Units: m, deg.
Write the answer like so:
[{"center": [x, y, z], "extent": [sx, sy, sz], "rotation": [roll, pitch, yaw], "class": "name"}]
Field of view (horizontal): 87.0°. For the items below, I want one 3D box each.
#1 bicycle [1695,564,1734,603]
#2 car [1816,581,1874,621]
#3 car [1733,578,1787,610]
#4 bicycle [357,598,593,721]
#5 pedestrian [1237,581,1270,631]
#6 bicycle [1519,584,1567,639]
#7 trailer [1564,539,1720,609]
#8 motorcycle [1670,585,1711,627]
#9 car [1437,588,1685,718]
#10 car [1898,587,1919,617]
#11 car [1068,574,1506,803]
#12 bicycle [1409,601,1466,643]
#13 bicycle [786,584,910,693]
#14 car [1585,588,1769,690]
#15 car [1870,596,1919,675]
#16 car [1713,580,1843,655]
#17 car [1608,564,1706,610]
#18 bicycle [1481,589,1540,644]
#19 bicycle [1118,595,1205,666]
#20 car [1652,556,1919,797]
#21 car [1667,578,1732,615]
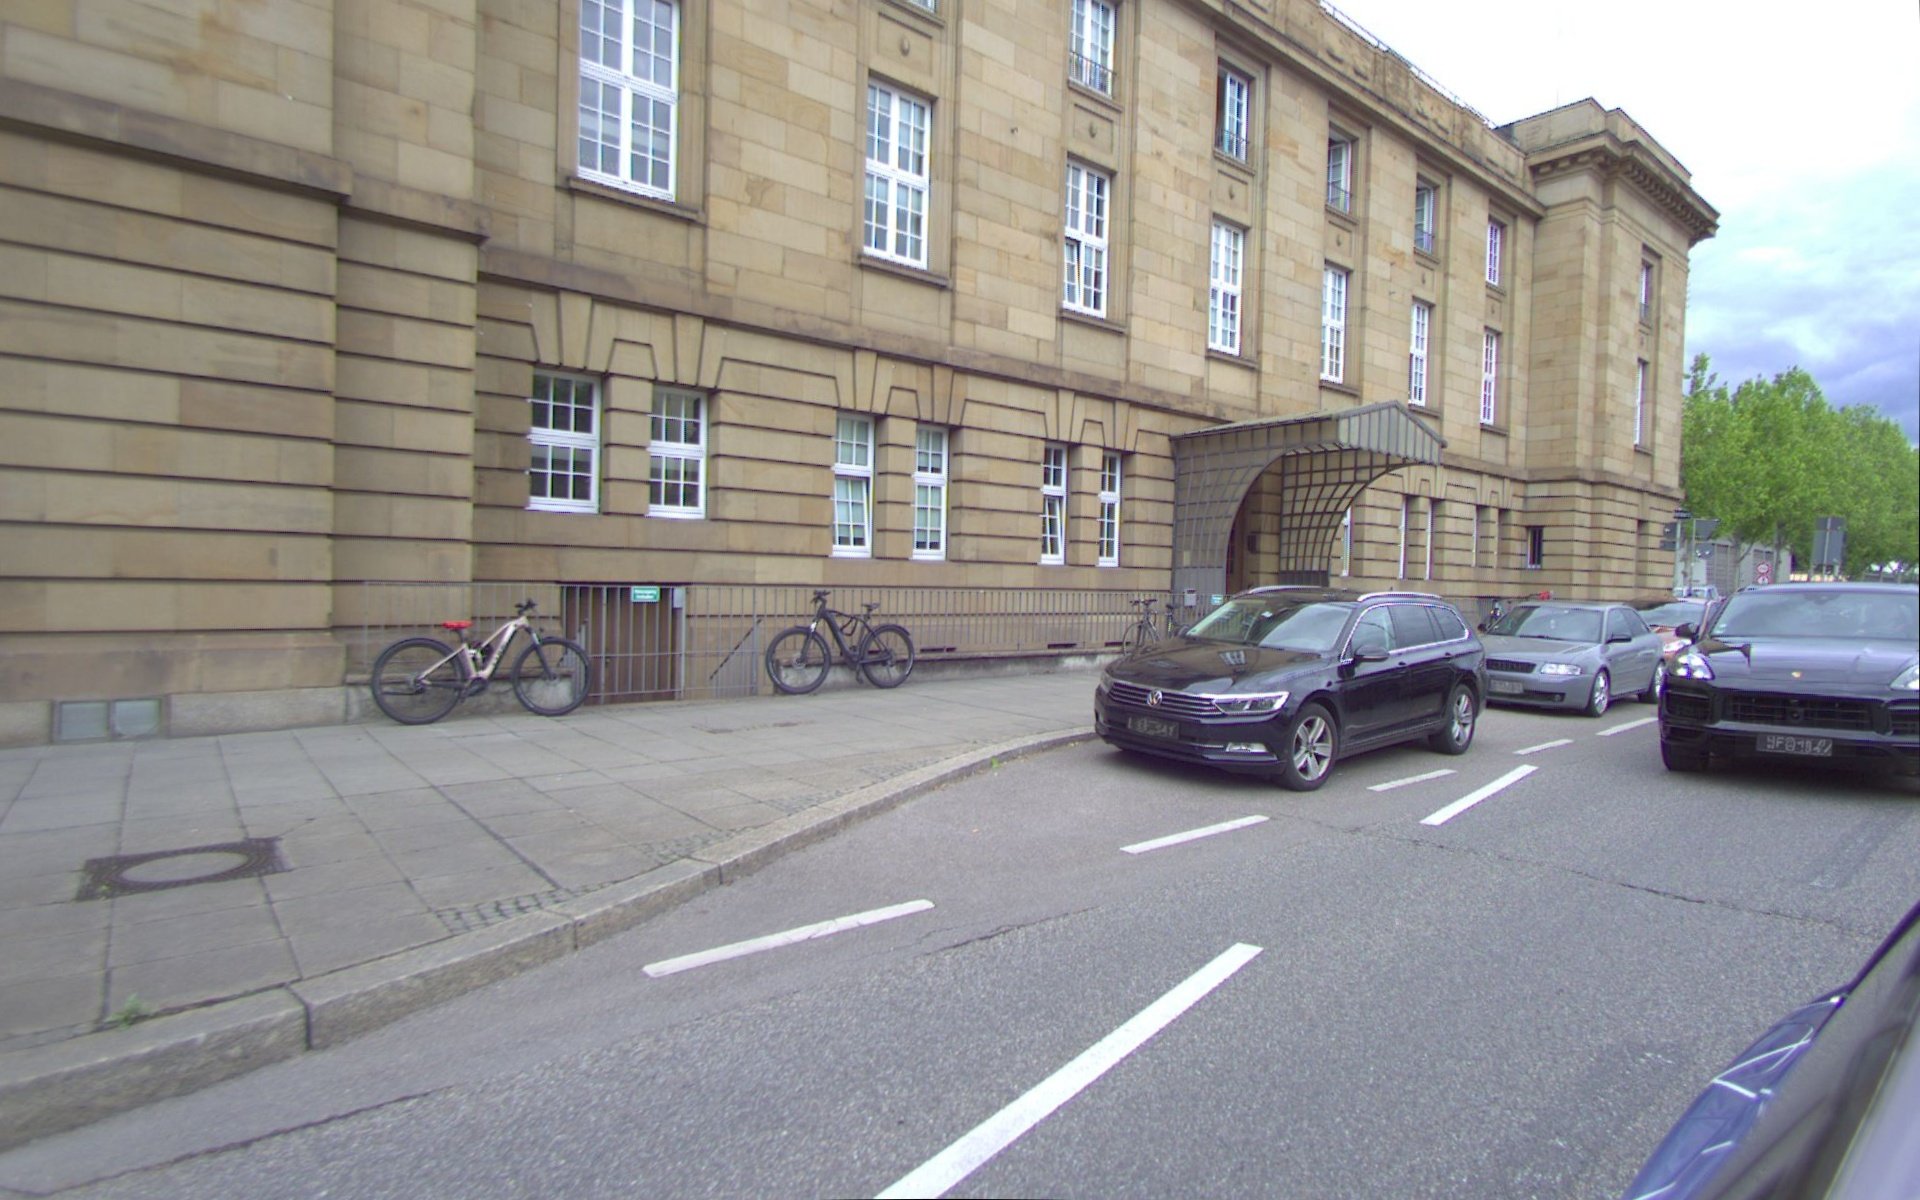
[{"center": [24.885, -0.537, 33.367], "extent": [1.930, 1.239, 0.610], "rotation": [0, 4, -43], "class": "bicycle"}, {"center": [41.480, 0.055, 47.389], "extent": [1.805, 1.760, 4.413], "rotation": [1, 0, 45], "class": "car"}, {"center": [40.205, -0.333, 50.848], "extent": [3.444, 1.549, 1.582], "rotation": [0, 1, -42], "class": "car"}, {"center": [-4.323, 0.496, 9.153], "extent": [1.928, 1.010, 0.240], "rotation": [-1, 1, -41], "class": "bicycle"}, {"center": [5.257, 0.105, 18.129], "extent": [0.366, 0.884, 0.430], "rotation": [-1, 0, -39], "class": "pedestrian"}, {"center": [14.247, 0.272, 24.712], "extent": [1.759, 1.304, 0.413], "rotation": [0, 1, -40], "class": "bicycle"}, {"center": [43.869, -1.622, 64.824], "extent": [13.702, 4.153, 3.159], "rotation": [-1, 0, -33], "class": "trailer"}, {"center": [22.320, 0.173, 30.910], "extent": [1.887, 1.257, 0.456], "rotation": [0, 2, -37], "class": "motorcycle"}, {"center": [8.192, 0.595, 13.668], "extent": [3.927, 1.443, 1.712], "rotation": [0, 3, -41], "class": "car"}, {"center": [66.440, 0.154, 69.991], "extent": [3.932, 2.039, 1.996], "rotation": [0, 1, -42], "class": "car"}, {"center": [3.052, 0.576, 8.937], "extent": [4.252, 1.504, 1.791], "rotation": [0, 2, -42], "class": "car"}, {"center": [10.044, 0.445, 21.260], "extent": [1.844, 0.855, 0.307], "rotation": [0, 1, -39], "class": "bicycle"}, {"center": [-1.275, 0.417, 11.734], "extent": [1.510, 1.198, 0.276], "rotation": [0, 0, -38], "class": "bicycle"}, {"center": [12.118, 0.567, 17.032], "extent": [3.791, 1.473, 1.619], "rotation": [0, 3, -41], "class": "car"}, {"center": [18.910, 0.625, 19.411], "extent": [3.935, 1.393, 1.930], "rotation": [-1, 0, -45], "class": "car"}, {"center": [18.817, 0.359, 23.234], "extent": [3.641, 1.571, 1.550], "rotation": [0, 2, -39], "class": "car"}, {"center": [24.211, -0.418, 35.103], "extent": [4.495, 1.487, 1.781], "rotation": [1, 0, -41], "class": "car"}, {"center": [12.869, 0.375, 23.628], "extent": [1.882, 1.232, 0.556], "rotation": [0, 1, -40], "class": "bicycle"}, {"center": [3.106, 0.451, 15.499], "extent": [1.826, 1.042, 0.222], "rotation": [0, 0, -41], "class": "bicycle"}, {"center": [7.777, 0.515, 8.919], "extent": [4.130, 1.678, 1.905], "rotation": [0, 1, -43], "class": "car"}, {"center": [38.504, -0.191, 52.639], "extent": [4.543, 1.806, 1.807], "rotation": [-1, -1, -42], "class": "car"}]
